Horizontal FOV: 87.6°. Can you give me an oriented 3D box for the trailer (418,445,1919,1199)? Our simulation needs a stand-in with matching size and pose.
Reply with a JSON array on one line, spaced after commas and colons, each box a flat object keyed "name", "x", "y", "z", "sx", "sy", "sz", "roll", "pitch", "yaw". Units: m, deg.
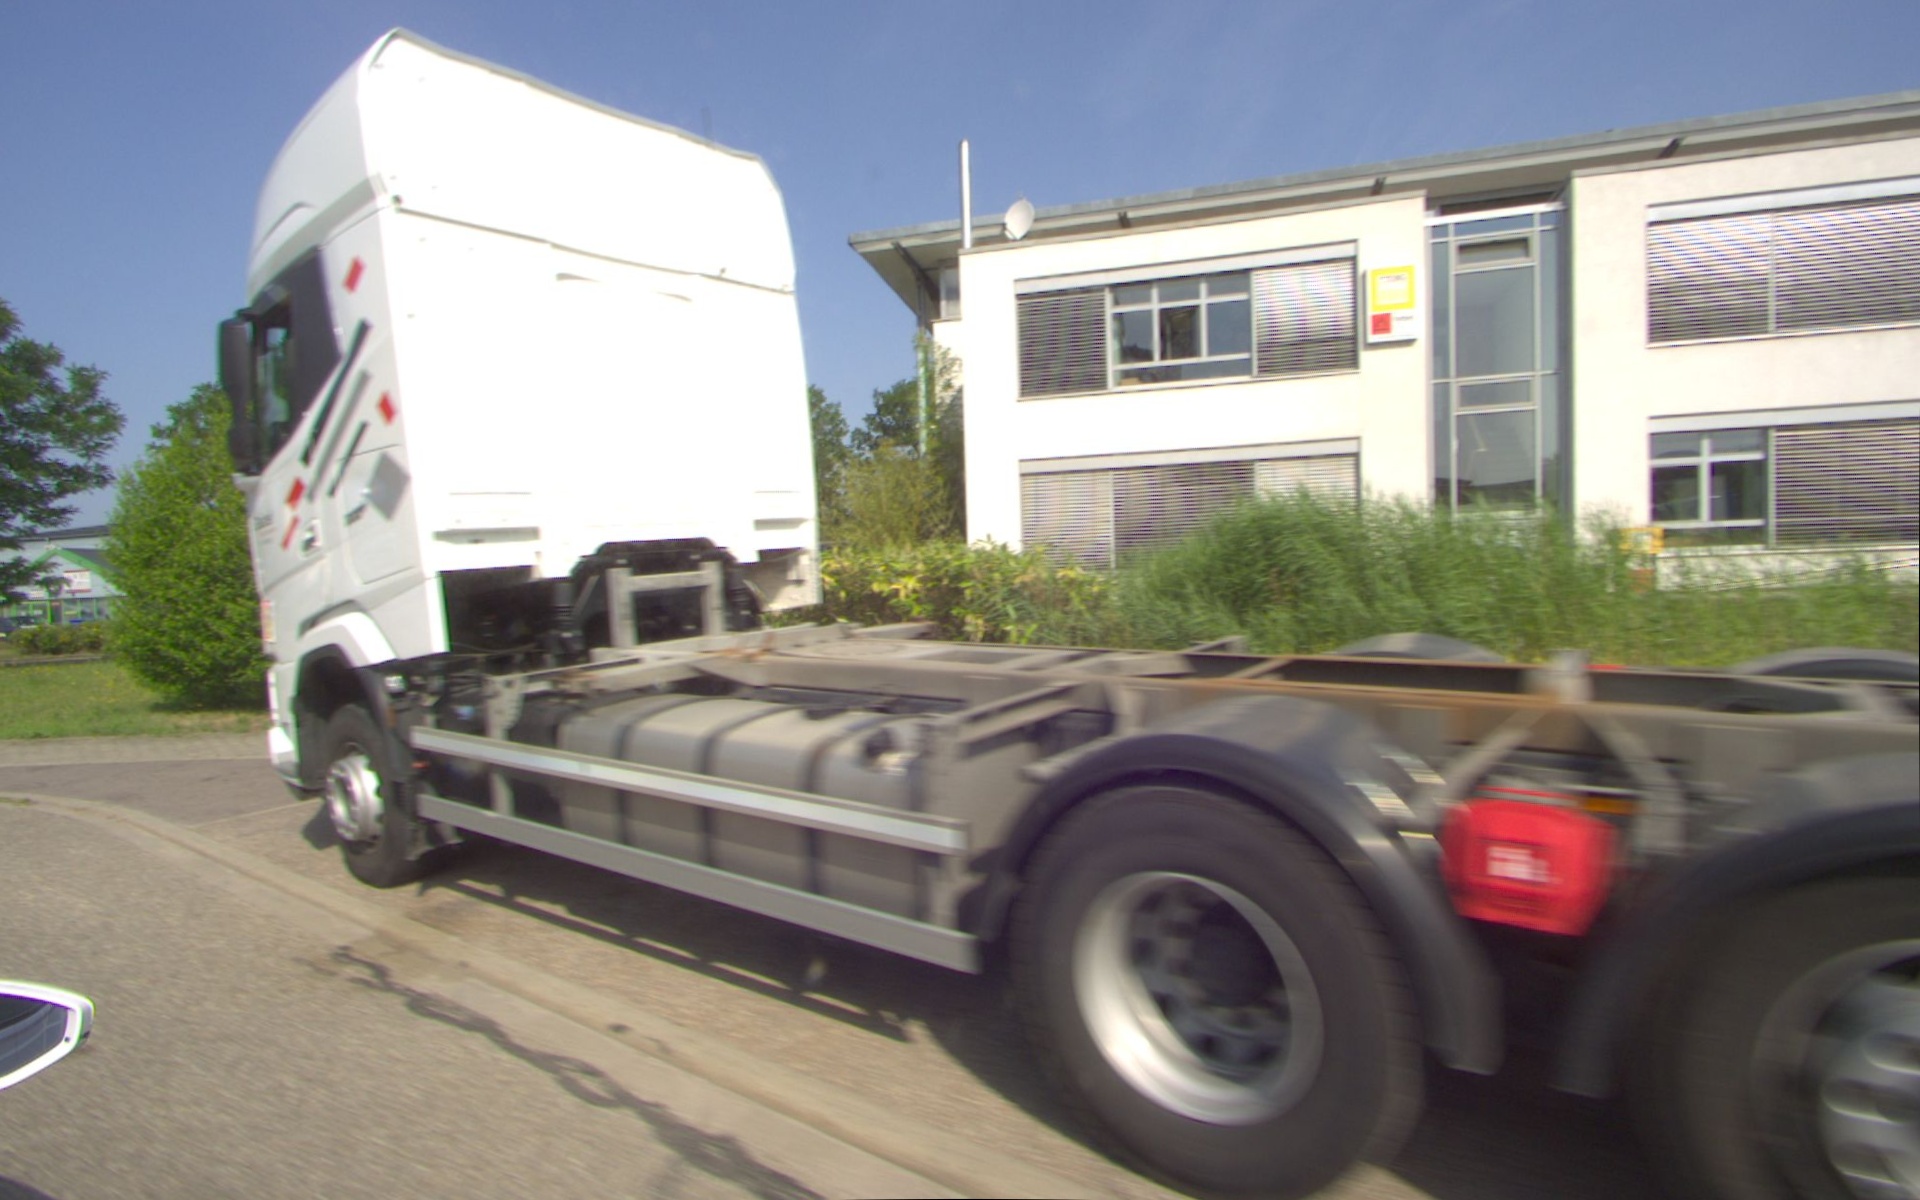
[{"name": "trailer", "x": 4.824, "y": 0.440, "z": 0.355, "sx": 15.972, "sy": 1.595, "sz": 2.733, "roll": -1, "pitch": 3, "yaw": 39}]

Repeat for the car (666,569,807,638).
[{"name": "car", "x": -6.029, "y": 0.138, "z": 27.535, "sx": 1.795, "sy": 1.728, "sz": 3.990, "roll": -2, "pitch": -1, "yaw": 23}]

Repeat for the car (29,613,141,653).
[{"name": "car", "x": -33.015, "y": 1.243, "z": 37.803, "sx": 3.601, "sy": 1.390, "sz": 1.750, "roll": -2, "pitch": -1, "yaw": 22}]

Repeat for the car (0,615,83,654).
[{"name": "car", "x": -33.597, "y": 1.251, "z": 36.017, "sx": 3.601, "sy": 1.347, "sz": 1.669, "roll": -2, "pitch": -1, "yaw": 22}]

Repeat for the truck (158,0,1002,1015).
[{"name": "truck", "x": -2.236, "y": -0.557, "z": 5.856, "sx": 3.951, "sy": 4.037, "sz": 2.733, "roll": -1, "pitch": 4, "yaw": 38}]

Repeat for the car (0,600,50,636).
[{"name": "car", "x": -46.595, "y": 0.920, "z": 49.492, "sx": 3.952, "sy": 1.661, "sz": 1.785, "roll": -2, "pitch": -2, "yaw": 39}]
